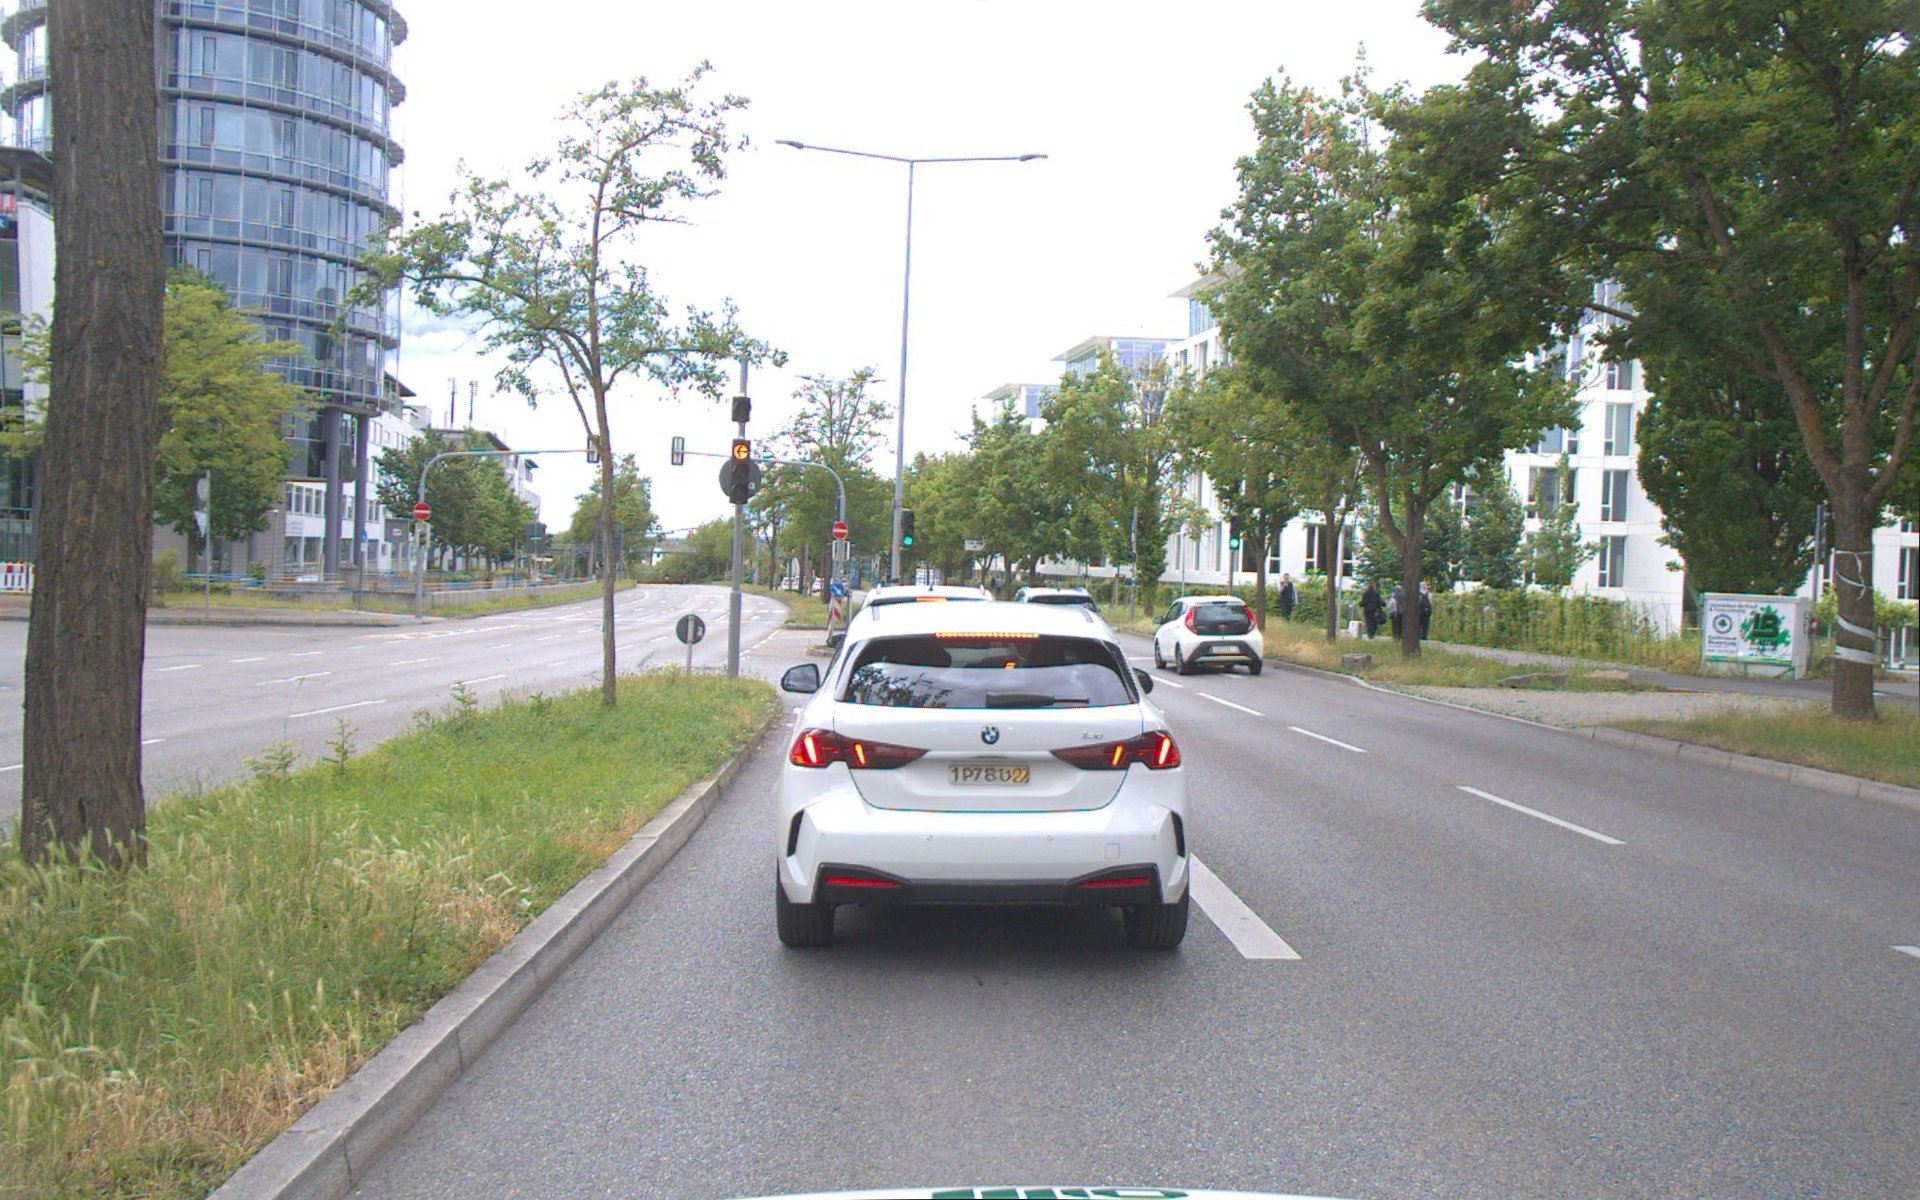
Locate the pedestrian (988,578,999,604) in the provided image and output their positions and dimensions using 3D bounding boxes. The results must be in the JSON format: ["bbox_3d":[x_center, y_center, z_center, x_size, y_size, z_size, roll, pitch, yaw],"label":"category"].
[{"bbox_3d":[2.757,-0.744,135.601,0.749,2.049,0.751,1,-1,-16],"label":"pedestrian"}]

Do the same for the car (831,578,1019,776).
[{"bbox_3d":[-0.315,0.629,15.706,1.518,1.596,3.999,1,0,-1],"label":"car"}]

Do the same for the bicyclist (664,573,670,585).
[{"bbox_3d":[-43.167,-3.127,243.581,0.795,1.681,1.186,1,0,-8],"label":"bicyclist"}]

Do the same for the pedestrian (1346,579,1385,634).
[{"bbox_3d":[11.112,0.179,45.354,0.773,1.473,1.111,1,0,-2],"label":"pedestrian"}]

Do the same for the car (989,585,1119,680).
[{"bbox_3d":[1.693,0.559,31.184,1.854,1.623,4.310,1,0,-5],"label":"car"}]

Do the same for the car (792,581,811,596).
[{"bbox_3d":[-18.885,-1.356,197.408,1.957,1.763,3.991,1,0,-10],"label":"car"}]

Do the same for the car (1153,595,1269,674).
[{"bbox_3d":[4.842,0.633,32.340,1.620,1.450,3.534,0,0,-2],"label":"car"}]

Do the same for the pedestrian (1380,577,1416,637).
[{"bbox_3d":[11.903,0.191,44.953,0.685,1.623,0.883,1,0,-2],"label":"pedestrian"}]

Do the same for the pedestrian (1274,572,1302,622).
[{"bbox_3d":[10.729,-0.103,54.113,0.726,1.601,0.674,1,-1,-2],"label":"pedestrian"}]

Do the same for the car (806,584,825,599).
[{"bbox_3d":[-15.143,-0.946,173.261,1.661,1.512,3.686,1,0,-9],"label":"car"}]

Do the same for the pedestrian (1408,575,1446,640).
[{"bbox_3d":[12.690,0.205,44.965,0.751,1.715,0.883,1,-1,-2],"label":"pedestrian"}]

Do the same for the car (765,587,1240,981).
[{"bbox_3d":[0.137,0.695,8.325,1.785,1.463,3.999,1,0,-1],"label":"car"}]

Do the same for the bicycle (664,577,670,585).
[{"bbox_3d":[-43.167,-2.754,243.516,0.795,1.123,2.552,1,0,-8],"label":"bicycle"}]

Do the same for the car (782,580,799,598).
[{"bbox_3d":[-17.565,-1.124,171.043,1.663,1.747,3.994,1,0,-7],"label":"car"}]

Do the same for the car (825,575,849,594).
[{"bbox_3d":[-10.956,-1.367,147.138,1.955,1.699,3.994,0,0,-7],"label":"car"}]
